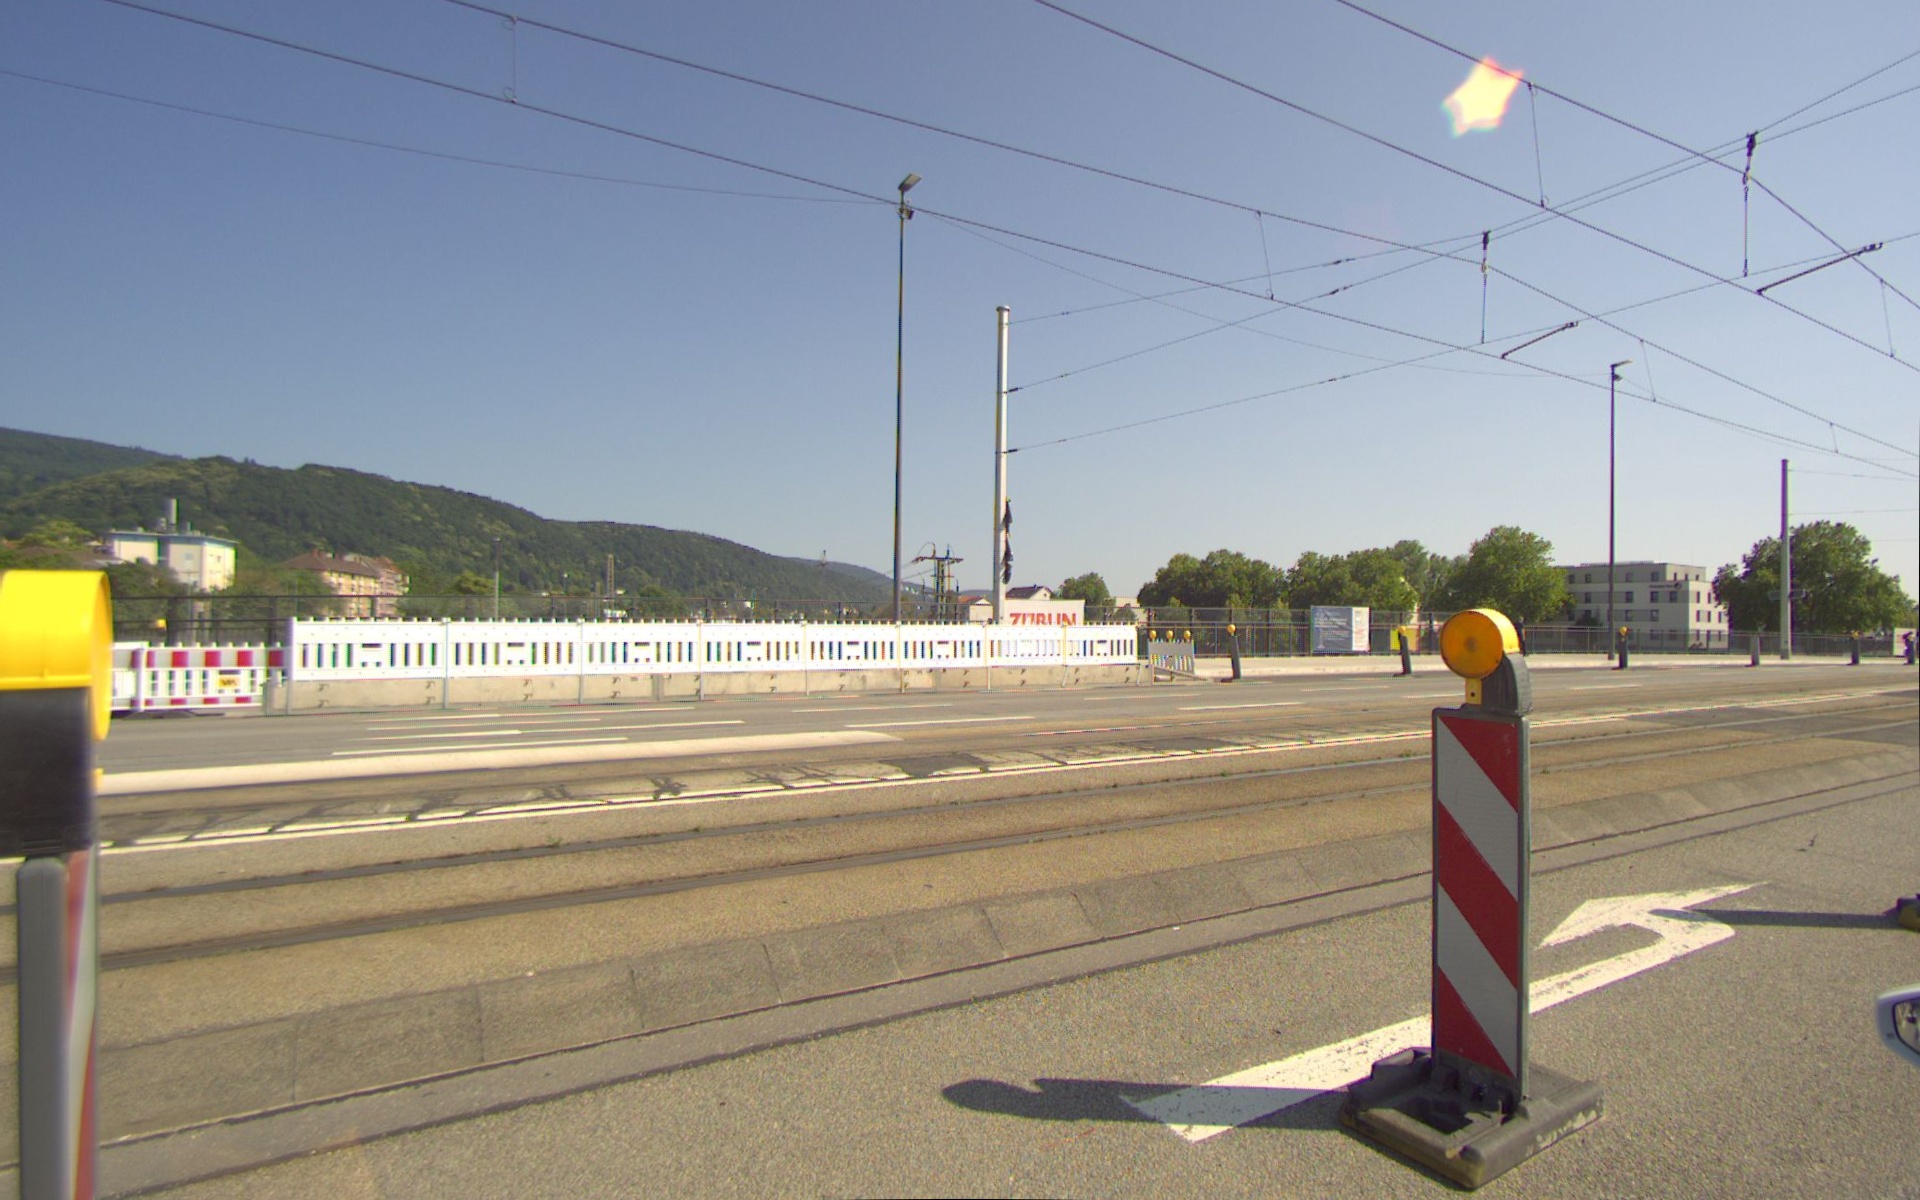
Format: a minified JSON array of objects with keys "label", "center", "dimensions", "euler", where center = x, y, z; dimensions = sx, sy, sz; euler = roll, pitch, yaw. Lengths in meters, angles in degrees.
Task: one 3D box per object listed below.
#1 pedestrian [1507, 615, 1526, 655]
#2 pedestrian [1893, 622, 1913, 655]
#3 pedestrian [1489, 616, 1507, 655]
[{"label":"pedestrian","center":[24.112,1.532,43.528],"dimensions":[0.468,1.717,0.493],"euler":[2,0,-30]},{"label":"pedestrian","center":[56.424,2.281,60.101],"dimensions":[0.743,1.919,0.631],"euler":[1,0,-30]},{"label":"pedestrian","center":[23.780,1.560,44.406],"dimensions":[0.468,1.717,0.493],"euler":[2,0,-30]}]
